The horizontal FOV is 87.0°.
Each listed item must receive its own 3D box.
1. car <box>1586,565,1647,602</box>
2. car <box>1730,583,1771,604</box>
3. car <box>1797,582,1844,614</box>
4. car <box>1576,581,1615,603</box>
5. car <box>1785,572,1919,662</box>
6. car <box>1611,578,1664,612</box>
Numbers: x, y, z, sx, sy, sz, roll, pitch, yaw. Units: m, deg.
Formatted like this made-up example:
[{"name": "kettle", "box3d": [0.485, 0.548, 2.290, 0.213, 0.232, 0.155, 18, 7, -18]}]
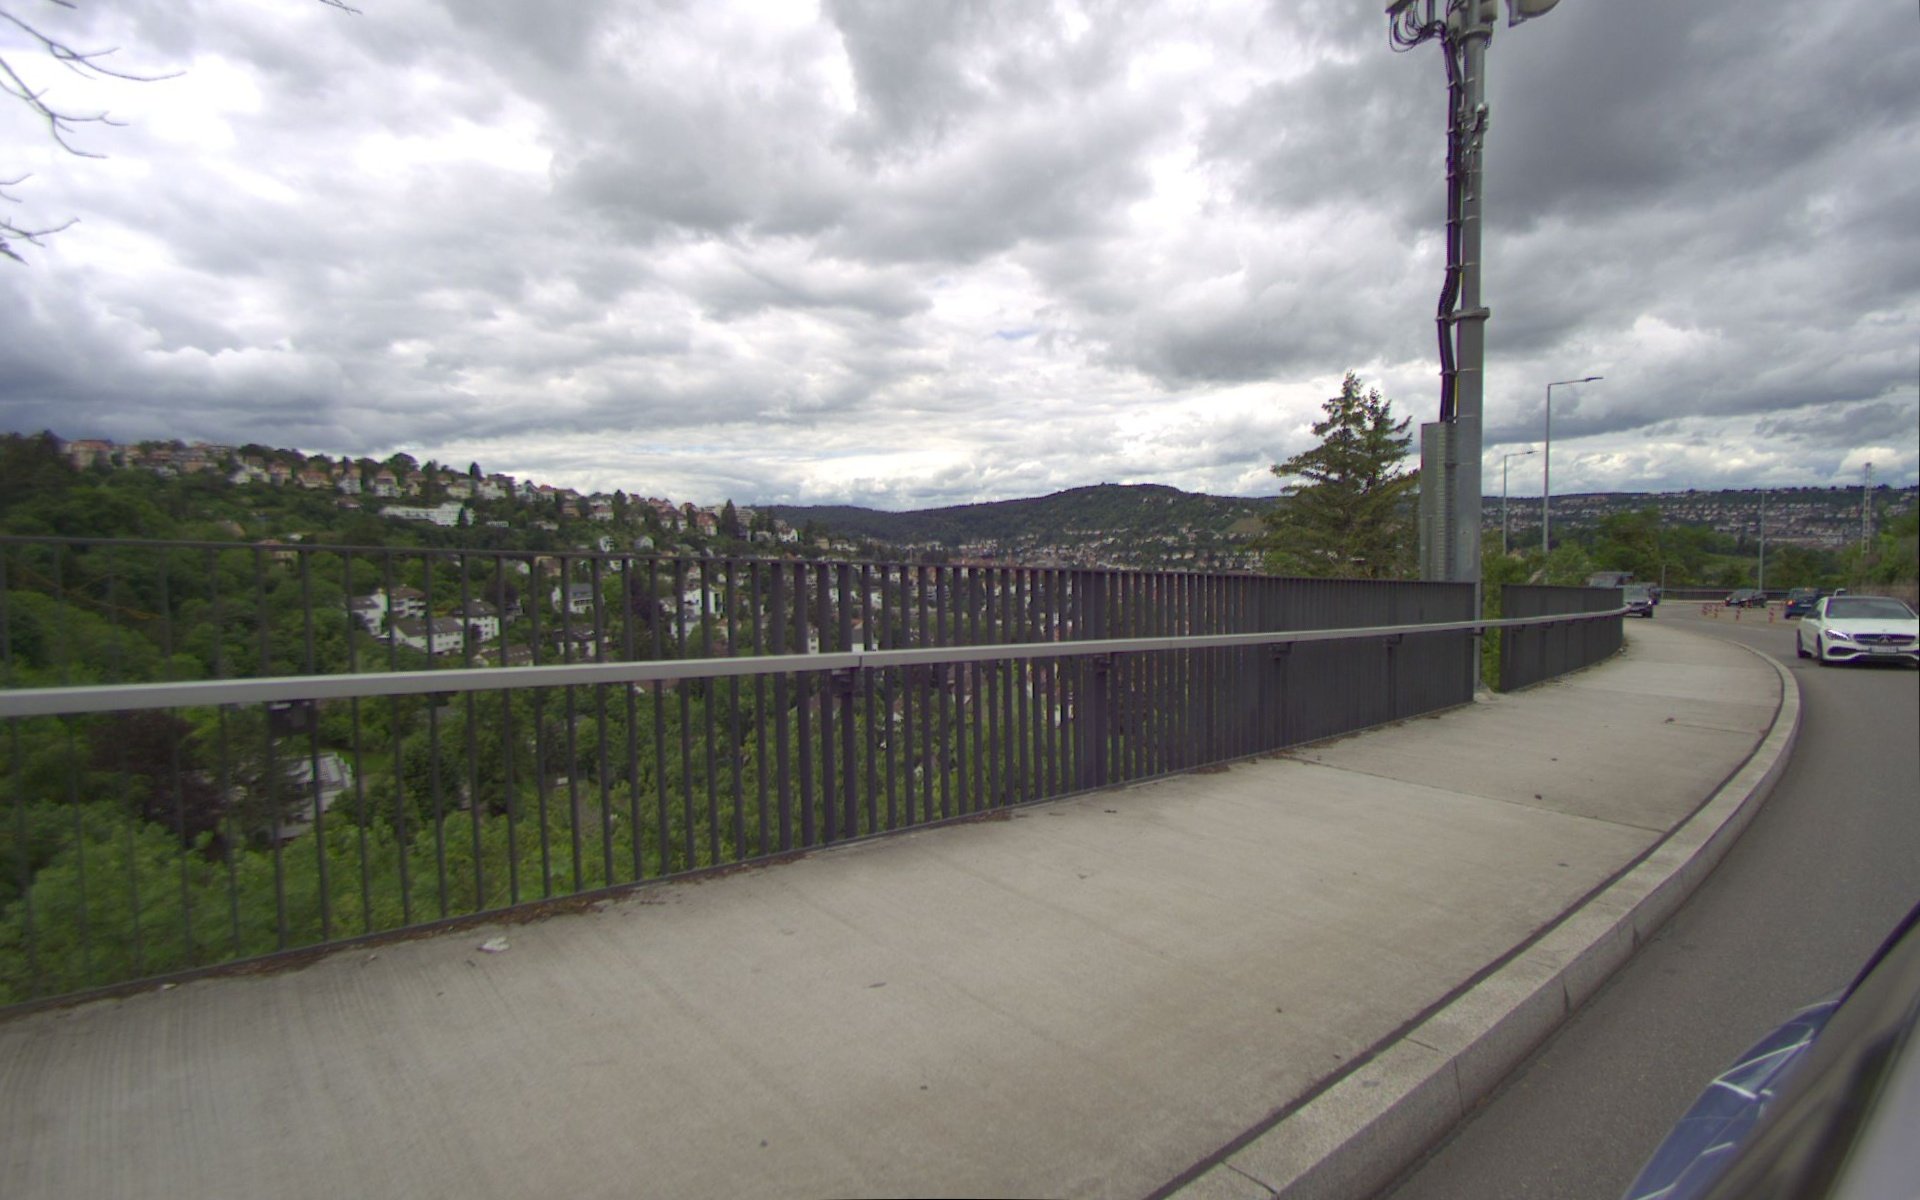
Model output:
[{"name": "car", "box3d": [49.797, -1.252, 76.757, 5.669, 2.551, 2.173, 0, 6, -41]}, {"name": "car", "box3d": [65.096, -0.533, 83.310, 4.460, 1.692, 1.996, 0, 1, -43]}, {"name": "car", "box3d": [50.864, -0.130, 59.801, 1.850, 1.805, 4.659, -1, 0, 44]}, {"name": "car", "box3d": [45.577, -0.571, 72.533, 1.714, 1.448, 3.792, 4, 4, 42]}, {"name": "car", "box3d": [19.099, 0.321, 21.337, 1.983, 1.740, 3.958, 0, 0, 30]}, {"name": "car", "box3d": [35.580, -0.270, 53.240, 1.983, 1.692, 4.490, 1, 1, 30]}]
